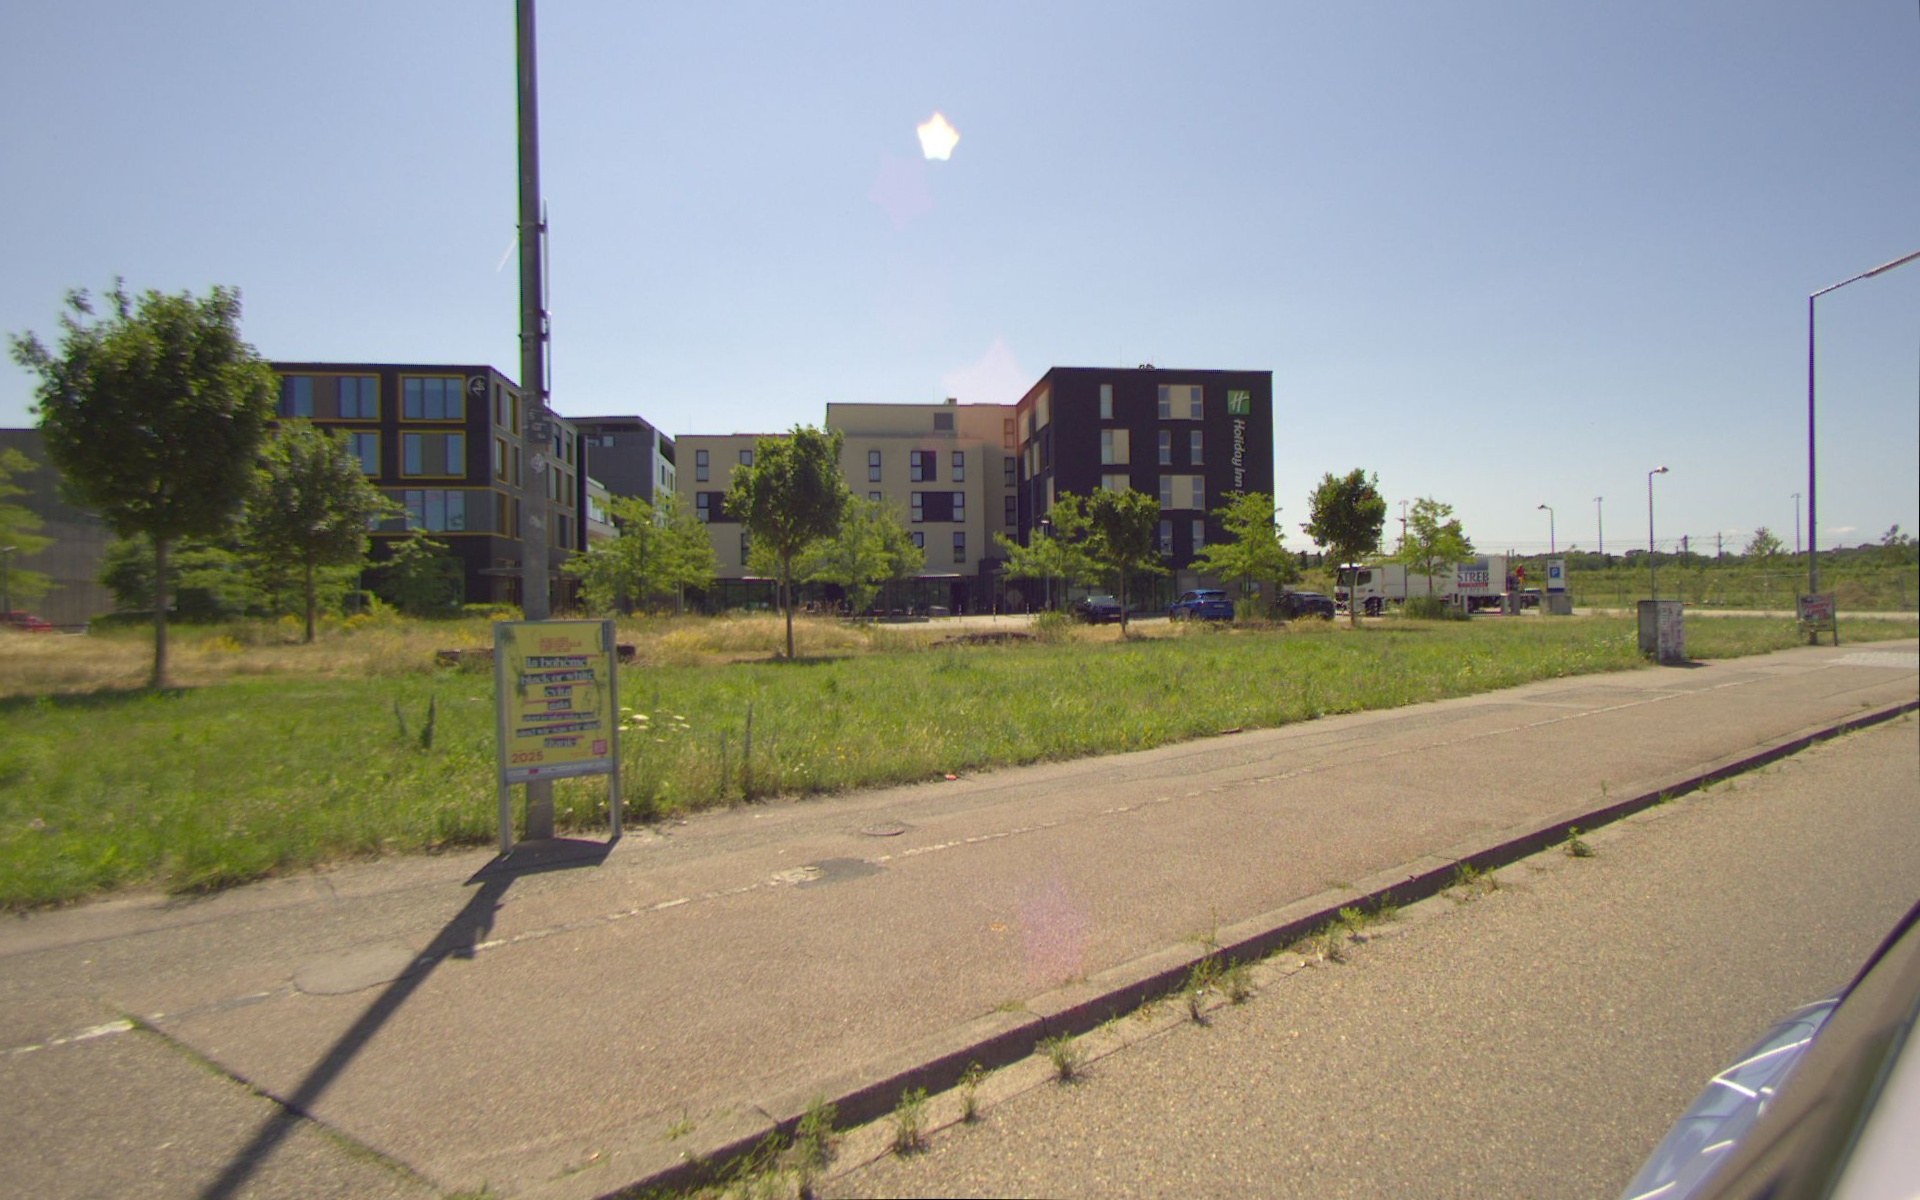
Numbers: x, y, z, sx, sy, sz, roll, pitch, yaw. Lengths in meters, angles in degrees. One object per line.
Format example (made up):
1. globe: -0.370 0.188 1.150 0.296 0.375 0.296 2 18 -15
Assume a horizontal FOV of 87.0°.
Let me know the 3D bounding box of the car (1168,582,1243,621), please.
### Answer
1. car: 11.185 0.057 46.431 1.915 1.672 4.077 -1 0 -8

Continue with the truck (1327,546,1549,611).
1. truck: 28.017 -1.284 59.473 11.894 3.504 3.023 -1 2 -6

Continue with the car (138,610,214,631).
1. car: -62.473 1.633 80.713 4.432 1.529 1.806 -1 0 -10

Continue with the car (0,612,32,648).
1. car: -61.283 1.932 62.795 5.056 2.142 2.239 -2 0 -6

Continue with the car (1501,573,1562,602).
1. car: 41.185 -0.884 73.011 1.843 2.039 3.920 -1 0 -6

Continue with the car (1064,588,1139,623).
1. car: 6.340 0.240 45.815 1.921 1.463 4.134 -1 0 -14

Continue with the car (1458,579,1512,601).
1. car: 40.560 -0.767 78.282 1.713 1.577 4.050 -1 0 -7

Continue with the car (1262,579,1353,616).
1. car: 15.832 -0.132 46.404 1.990 1.581 4.515 -1 0 -9
